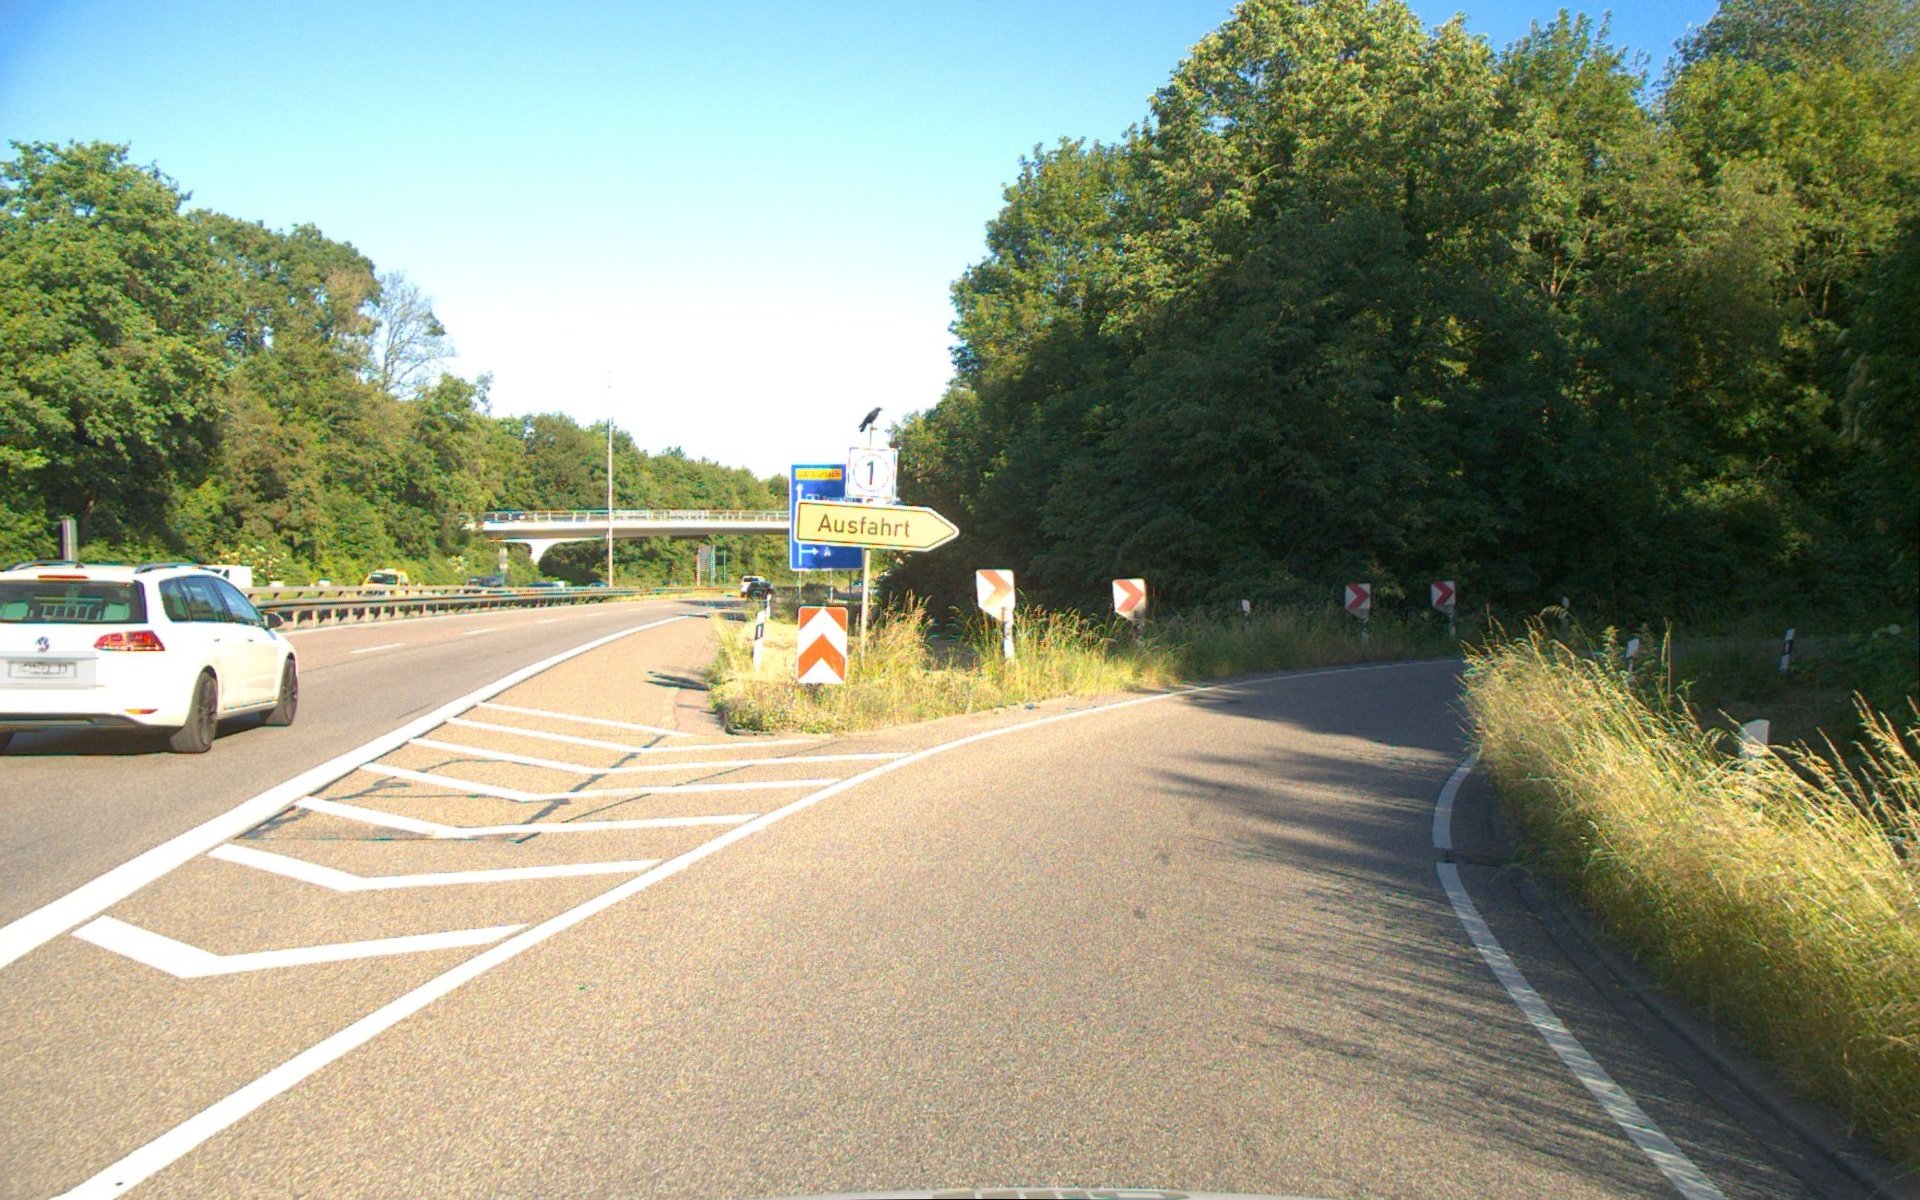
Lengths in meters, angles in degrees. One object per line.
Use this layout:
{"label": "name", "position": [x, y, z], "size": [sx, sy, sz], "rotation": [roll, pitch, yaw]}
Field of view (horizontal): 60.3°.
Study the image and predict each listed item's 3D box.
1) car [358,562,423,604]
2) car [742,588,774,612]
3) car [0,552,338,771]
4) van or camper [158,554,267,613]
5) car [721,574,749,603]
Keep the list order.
{"label": "car", "position": [-28.522, -0.840, 82.900], "size": [1.953, 2.049, 3.999], "rotation": [0, 0, -2]}
{"label": "car", "position": [-14.309, -0.003, 117.427], "size": [1.703, 1.691, 3.946], "rotation": [0, 0, 1]}
{"label": "car", "position": [-7.042, 0.425, 14.472], "size": [1.894, 1.534, 5.586], "rotation": [2, 0, -9]}
{"label": "van or camper", "position": [-27.102, -0.573, 60.158], "size": [2.033, 2.049, 4.814], "rotation": [0, 0, -4]}
{"label": "car", "position": [-18.628, -0.943, 137.151], "size": [1.953, 2.317, 3.998], "rotation": [0, 0, -2]}
